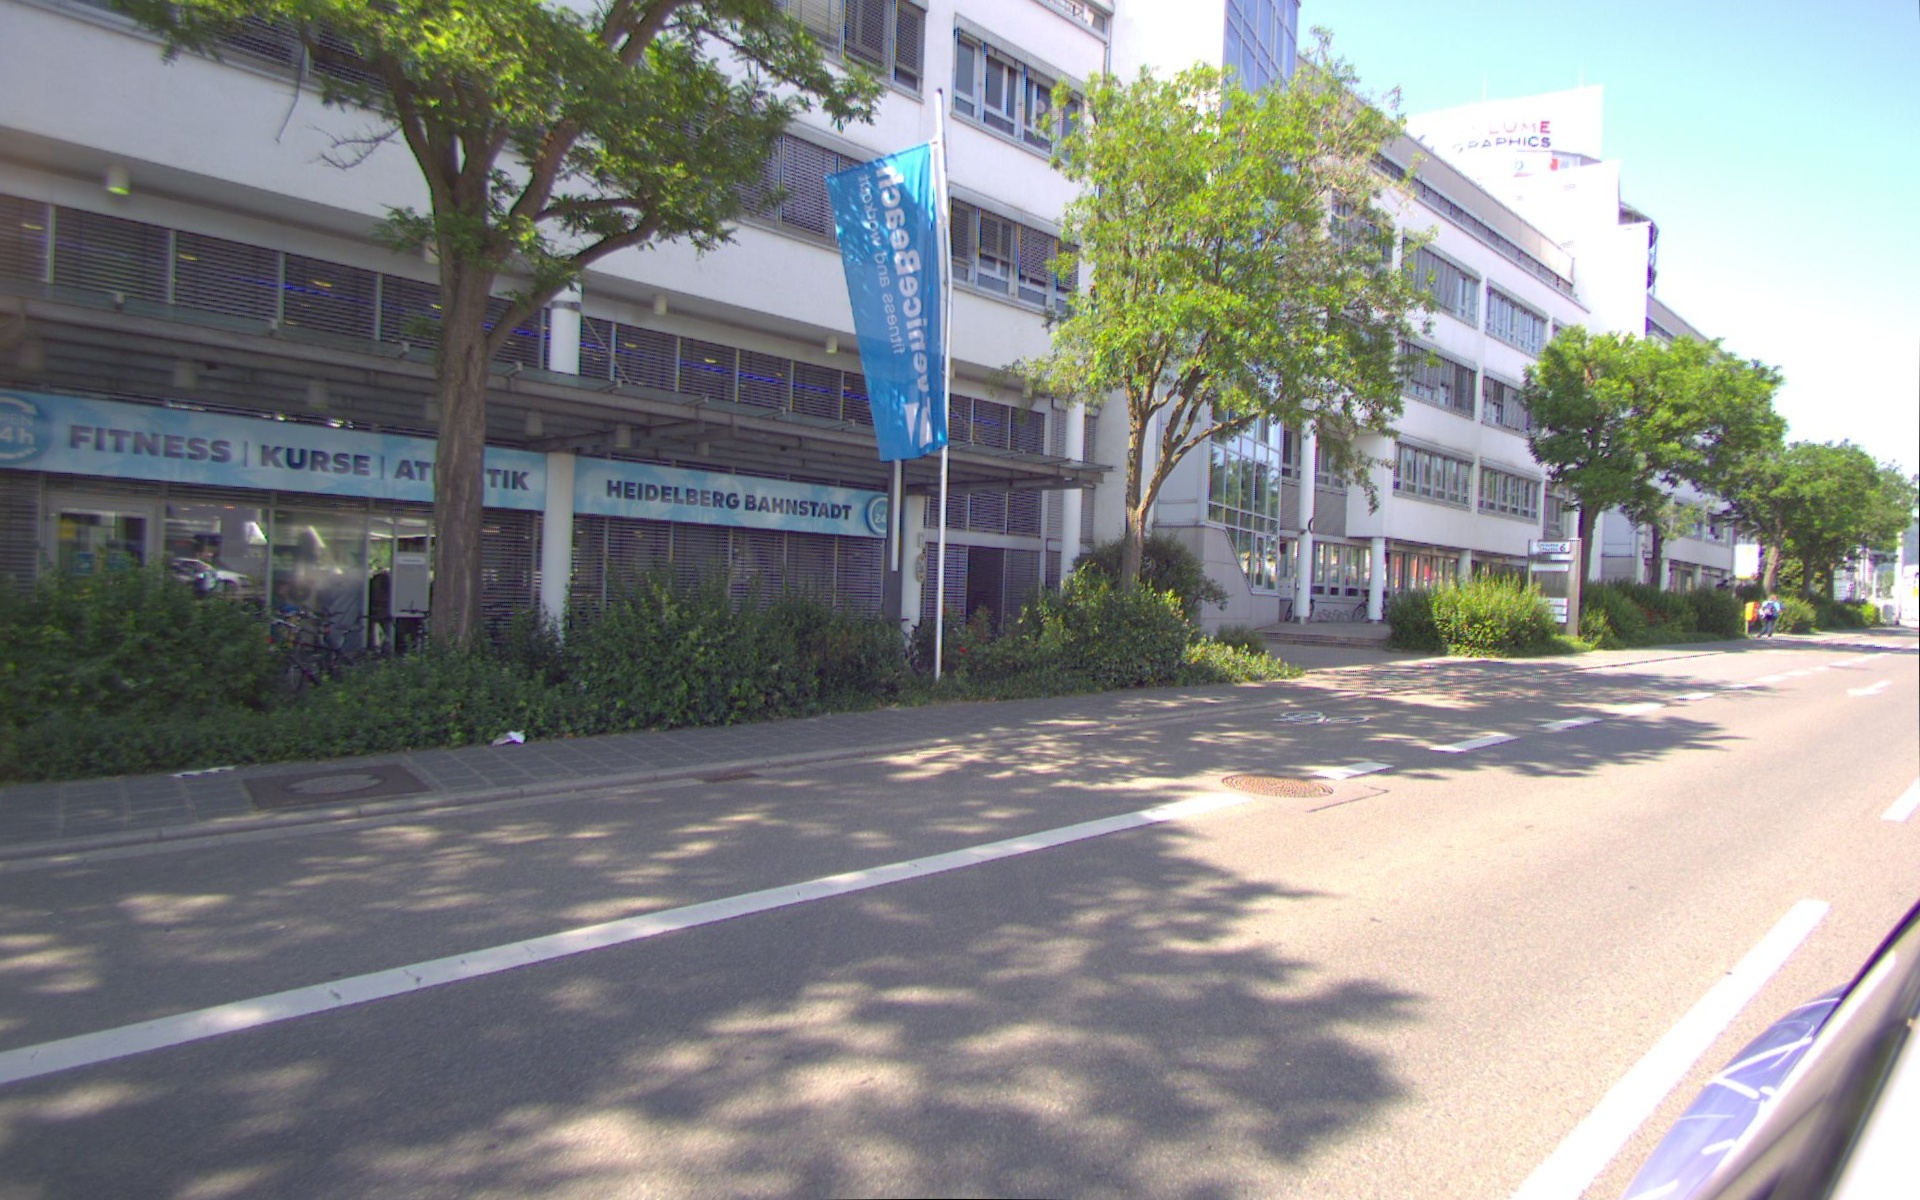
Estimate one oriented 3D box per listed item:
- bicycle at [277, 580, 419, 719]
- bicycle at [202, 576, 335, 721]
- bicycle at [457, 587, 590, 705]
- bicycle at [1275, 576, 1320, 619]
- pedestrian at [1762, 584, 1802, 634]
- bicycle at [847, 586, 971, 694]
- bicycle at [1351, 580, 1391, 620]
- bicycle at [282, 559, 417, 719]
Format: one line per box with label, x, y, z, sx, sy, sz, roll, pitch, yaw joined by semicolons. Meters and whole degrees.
bicycle;-6.498;0.468;10.851;0.496;1.346;1.886;1;1;-4
bicycle;-7.071;0.435;10.441;0.496;1.346;1.889;1;1;-14
bicycle;-5.508;0.542;12.734;1.868;1.346;0.501;2;1;30
bicycle;11.094;-0.092;33.194;1.851;1.371;0.506;0;1;-41
pedestrian;33.426;0.354;41.144;1.266;1.909;0.942;1;3;-41
bicycle;-0.654;0.507;13.616;0.504;1.346;1.856;2;1;41
bicycle;14.542;-0.003;35.806;1.851;1.371;0.506;0;1;-41
bicycle;-5.625;0.312;9.418;0.496;1.346;1.693;1;1;-10
